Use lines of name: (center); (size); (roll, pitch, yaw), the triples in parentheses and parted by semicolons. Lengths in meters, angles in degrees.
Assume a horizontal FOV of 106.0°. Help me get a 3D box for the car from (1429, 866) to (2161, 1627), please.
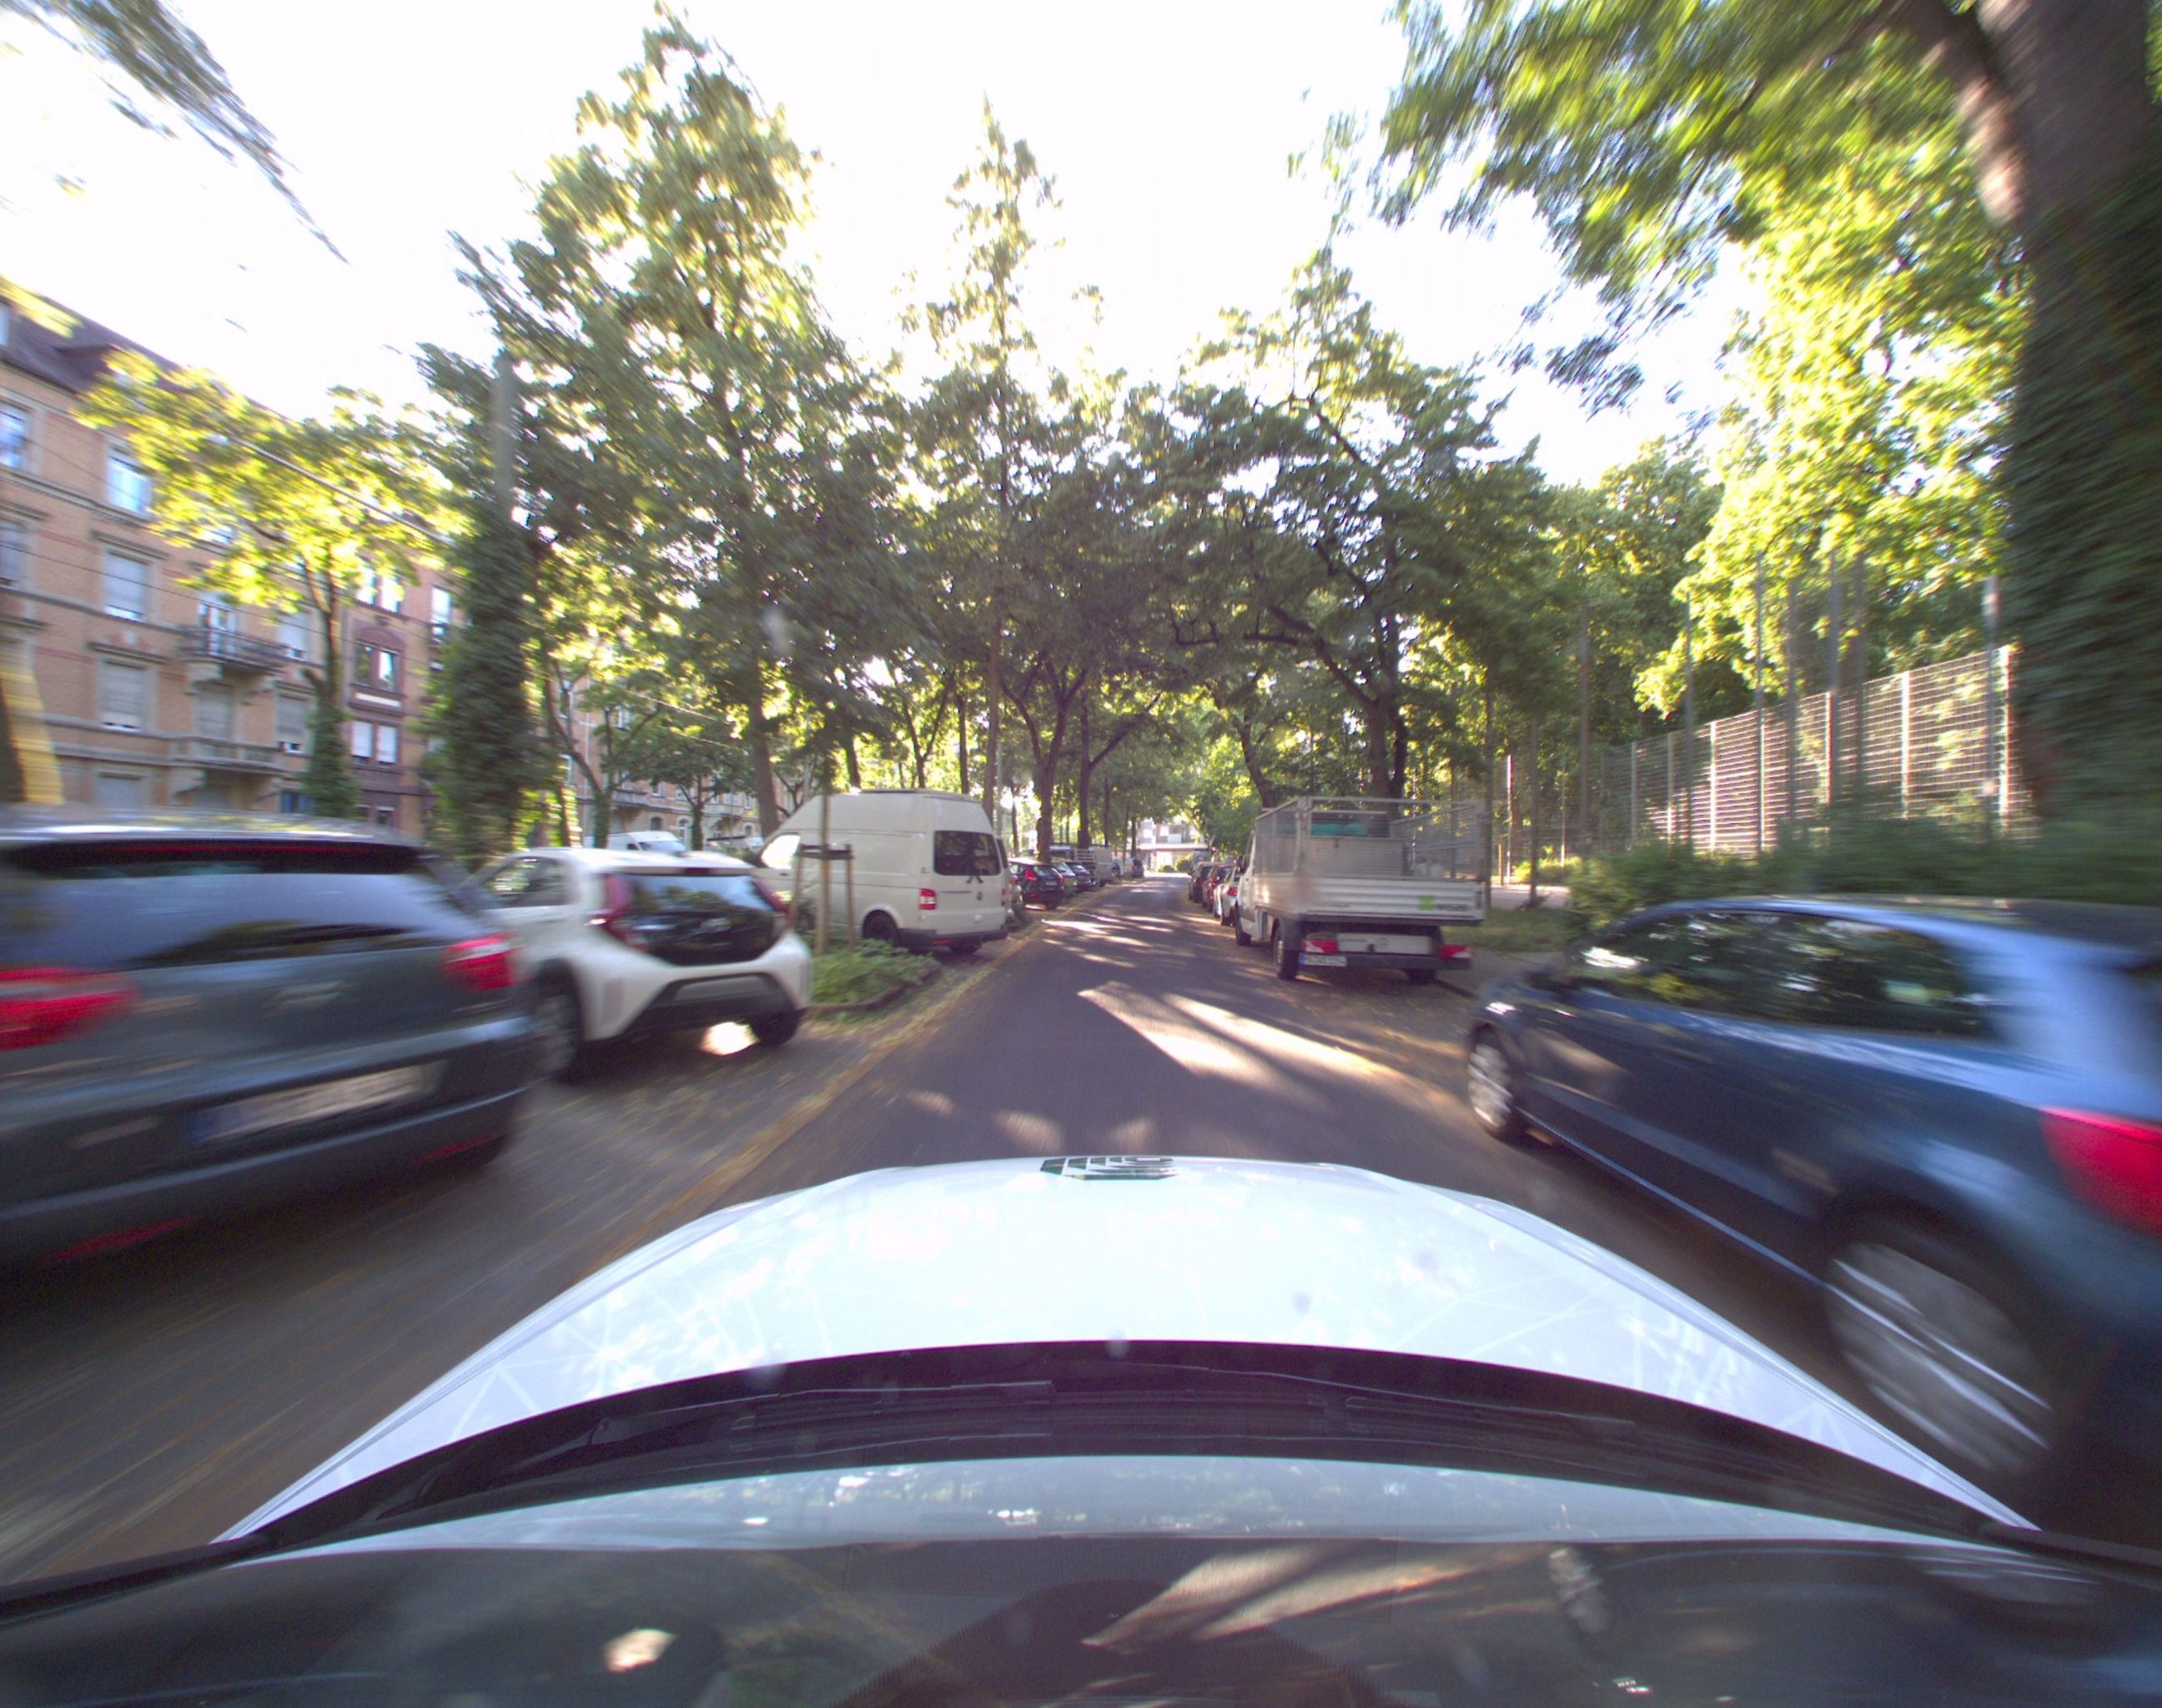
car: (3.017, 0.789, 3.384); (1.665, 1.458, 3.896); (1, -1, 3)

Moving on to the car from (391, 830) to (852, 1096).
car: (-3.793, 0.656, 6.609); (3.505, 1.493, 1.837); (3, -1, 35)

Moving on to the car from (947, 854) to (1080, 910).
car: (-2.102, 0.844, 24.946); (3.776, 1.439, 1.836); (3, -1, 40)

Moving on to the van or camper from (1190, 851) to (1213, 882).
van or camper: (11.335, 1.183, 77.033); (2.072, 2.762, 5.857); (1, -1, 8)

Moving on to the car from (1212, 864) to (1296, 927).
car: (4.254, 0.975, 20.563); (1.664, 1.397, 4.306); (1, -1, 6)

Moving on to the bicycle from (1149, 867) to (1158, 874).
bicycle: (10.218, 2.308, 114.831); (0.545, 0.905, 1.720); (1, -1, -27)

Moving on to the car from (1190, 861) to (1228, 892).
car: (6.420, 1.096, 41.095); (1.672, 1.454, 4.082); (1, -1, 6)

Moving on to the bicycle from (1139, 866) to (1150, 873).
bicycle: (9.091, 2.185, 116.780); (0.642, 1.022, 2.068); (1, -1, -30)

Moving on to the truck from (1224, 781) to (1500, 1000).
truck: (3.705, 0.440, 12.456); (2.285, 2.386, 6.941); (1, -1, 4)

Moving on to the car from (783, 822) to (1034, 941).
car: (-3.540, 0.466, 16.311); (4.824, 1.978, 2.058); (3, -1, 35)

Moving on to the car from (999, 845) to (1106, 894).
car: (-1.334, 0.681, 37.173); (4.654, 1.943, 1.946); (3, -1, 39)

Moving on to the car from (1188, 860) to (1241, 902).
car: (4.970, 0.991, 30.645); (1.664, 1.454, 3.954); (1, -1, 5)

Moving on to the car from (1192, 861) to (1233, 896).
car: (5.766, 1.043, 35.891); (1.583, 1.454, 3.560); (1, -1, 6)

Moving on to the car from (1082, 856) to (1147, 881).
car: (2.728, 1.203, 67.316); (4.938, 1.781, 2.000); (3, -1, 34)

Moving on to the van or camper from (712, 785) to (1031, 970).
van or camper: (-3.426, 0.260, 13.017); (4.824, 2.470, 2.057); (3, -1, 33)

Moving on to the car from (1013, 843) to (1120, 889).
car: (-0.826, 0.631, 43.492); (5.444, 2.137, 2.094); (3, -1, 36)

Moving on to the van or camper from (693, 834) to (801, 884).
van or camper: (-16.897, 0.303, 41.116); (5.480, 2.371, 2.322); (-1, -1, 33)

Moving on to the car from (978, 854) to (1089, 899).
car: (-1.870, 0.851, 31.685); (4.042, 1.488, 1.795); (3, -1, 37)

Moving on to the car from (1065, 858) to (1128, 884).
car: (1.072, 1.218, 58.320); (4.108, 1.644, 1.927); (3, -1, 38)

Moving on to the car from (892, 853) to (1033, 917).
car: (-3.334, 0.833, 22.756); (3.505, 1.493, 1.837); (3, -1, 35)

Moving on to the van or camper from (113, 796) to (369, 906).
van or camper: (-26.283, -0.055, 25.891); (2.065, 3.109, 5.521); (1, -1, 5)

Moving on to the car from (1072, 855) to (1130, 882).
car: (1.486, 1.086, 61.526); (4.109, 1.781, 1.895); (3, -1, 43)

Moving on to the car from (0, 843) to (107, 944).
car: (-19.029, 0.670, 14.644); (3.948, 1.647, 1.749); (-1, -1, 37)

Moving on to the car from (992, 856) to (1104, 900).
car: (-1.445, 0.985, 34.398); (4.513, 1.541, 1.946); (3, -1, 39)

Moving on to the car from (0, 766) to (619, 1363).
car: (-4.387, 0.524, 3.864); (3.990, 1.662, 1.868); (3, -1, 28)

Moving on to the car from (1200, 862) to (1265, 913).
car: (4.687, 1.006, 25.640); (1.664, 1.454, 3.954); (1, -1, 5)

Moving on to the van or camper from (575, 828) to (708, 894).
van or camper: (-17.527, 0.313, 32.411); (5.604, 2.468, 2.012); (-1, -1, 30)

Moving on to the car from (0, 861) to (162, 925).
car: (-26.534, 0.945, 20.840); (1.842, 1.404, 3.512); (3, 0, 4)
